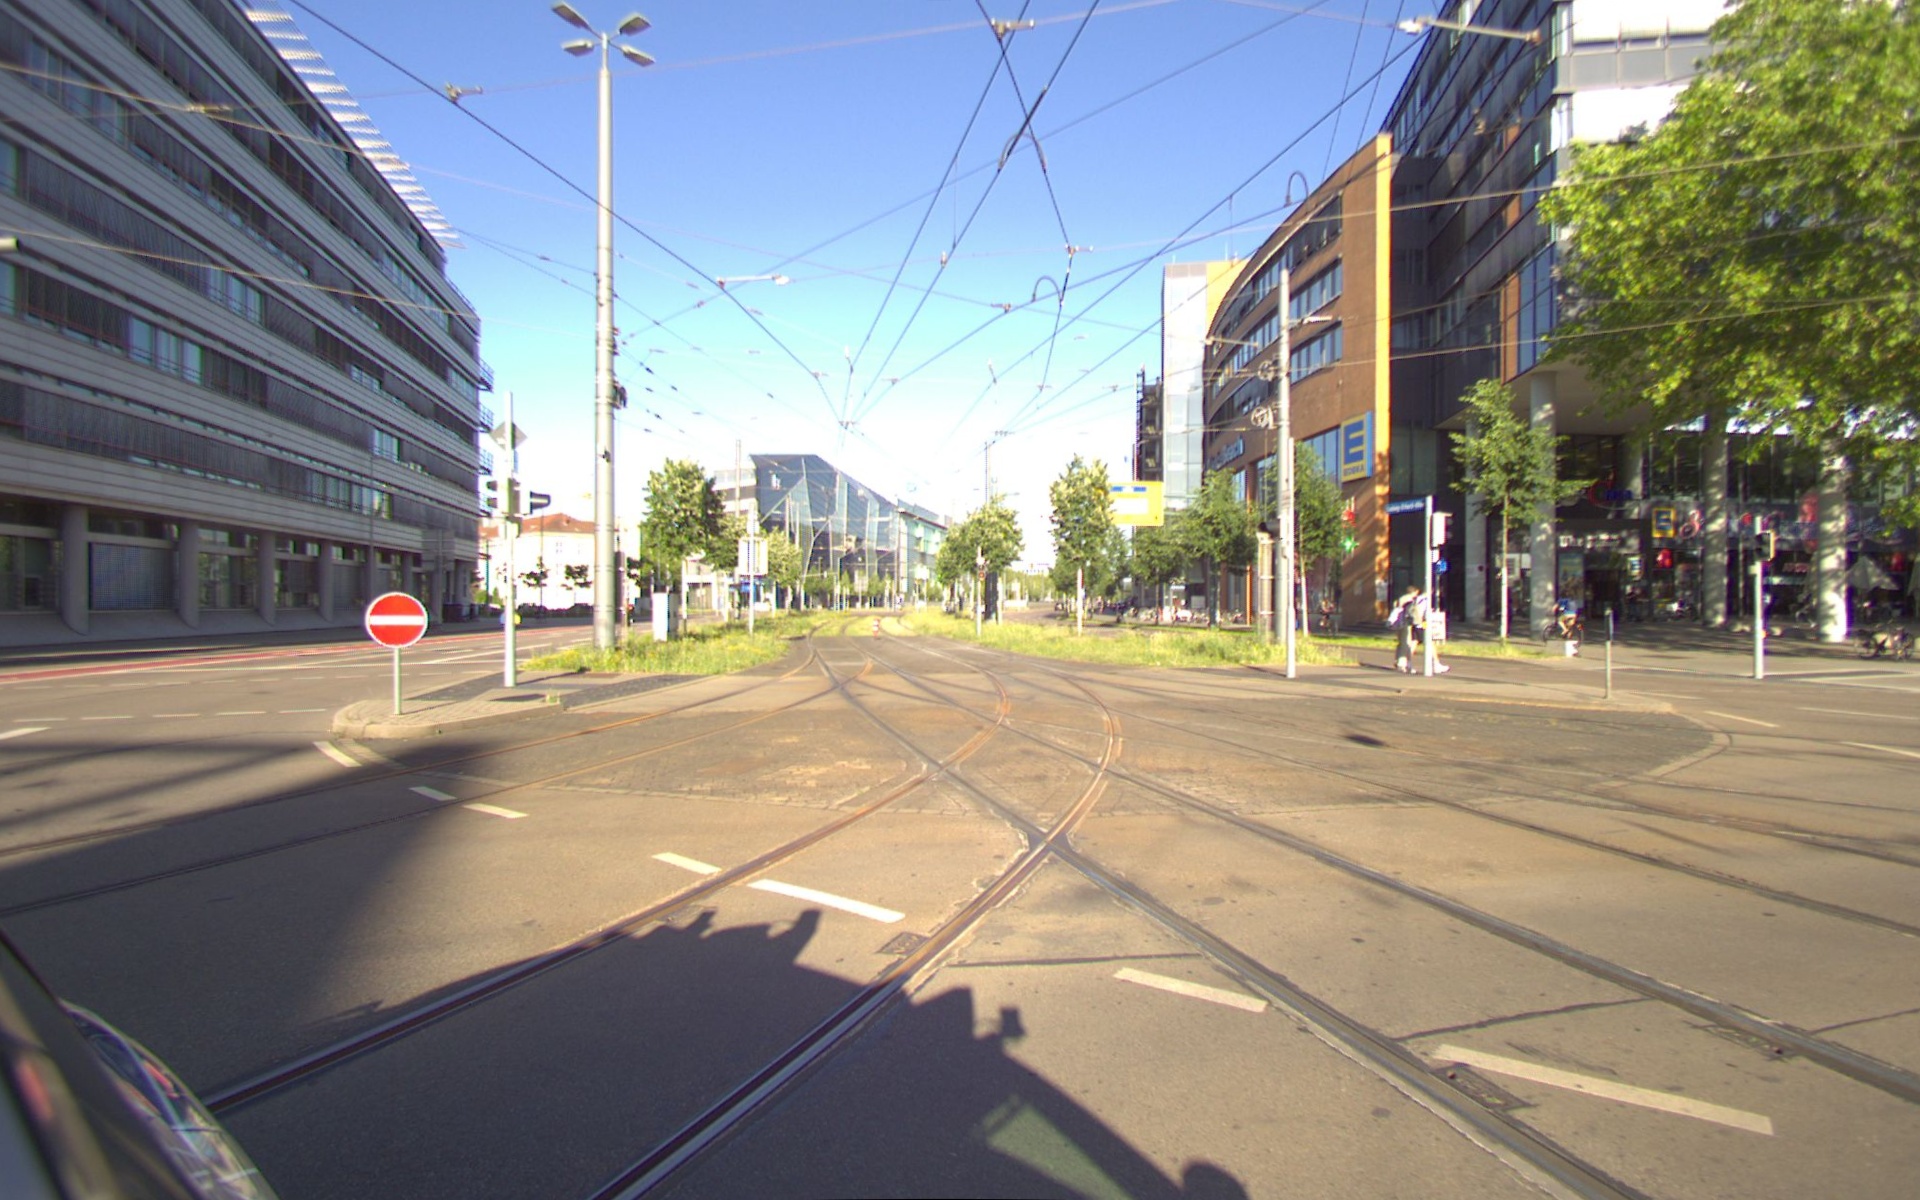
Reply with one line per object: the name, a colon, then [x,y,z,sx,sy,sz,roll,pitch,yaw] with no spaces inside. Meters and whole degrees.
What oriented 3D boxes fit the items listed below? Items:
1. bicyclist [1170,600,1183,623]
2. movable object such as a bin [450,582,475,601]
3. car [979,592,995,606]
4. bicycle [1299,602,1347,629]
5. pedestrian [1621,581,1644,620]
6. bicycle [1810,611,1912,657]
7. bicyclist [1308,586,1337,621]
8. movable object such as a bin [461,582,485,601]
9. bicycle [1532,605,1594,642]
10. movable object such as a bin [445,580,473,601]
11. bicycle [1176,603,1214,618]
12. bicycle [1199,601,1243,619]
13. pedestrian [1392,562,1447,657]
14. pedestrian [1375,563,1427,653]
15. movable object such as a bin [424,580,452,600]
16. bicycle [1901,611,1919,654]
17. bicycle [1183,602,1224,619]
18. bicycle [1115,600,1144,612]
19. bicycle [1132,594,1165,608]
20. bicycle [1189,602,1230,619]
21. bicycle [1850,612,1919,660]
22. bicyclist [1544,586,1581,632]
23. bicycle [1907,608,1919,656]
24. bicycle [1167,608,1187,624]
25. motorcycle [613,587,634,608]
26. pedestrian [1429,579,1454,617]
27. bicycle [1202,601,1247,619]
bicyclist: [14.620,0.750,68.345,0.681,1.541,0.704,1,0,-7]
movable object such as a bin: [-34.640,-0.575,70.518,1.156,1.311,1.331,1,0,-6]
car: [3.211,-0.113,121.086,1.603,1.539,4.806,1,0,-2]
bicycle: [16.256,0.679,45.415,0.882,1.112,2.695,2,0,-6]
pedestrian: [29.720,0.019,44.715,0.701,1.664,0.693,2,1,24]
bicycle: [23.818,0.905,26.763,2.330,1.137,0.600,2,0,-6]
bicyclist: [16.276,0.158,45.424,0.882,1.560,0.940,2,0,-5]
movable object such as a bin: [-34.574,-0.592,71.879,1.156,1.311,1.331,1,0,-6]
bicycle: [19.636,0.743,32.998,0.683,1.145,1.854,2,0,-7]
movable object such as a bin: [-33.364,-0.623,67.381,1.308,1.311,1.176,1,0,-6]
bicycle: [17.688,0.791,76.328,2.657,1.112,0.895,2,0,5]
bicycle: [17.086,0.655,66.262,2.657,1.112,0.895,2,0,5]
pedestrian: [9.389,0.187,20.686,0.722,1.884,0.674,2,0,-9]
pedestrian: [9.521,0.171,21.858,0.722,1.884,0.700,2,0,-7]
movable object such as a bin: [-34.712,-0.657,67.334,1.308,1.311,1.176,1,0,-6]
bicycle: [26.832,0.901,27.409,2.329,1.137,0.600,2,0,-7]
bicycle: [17.370,0.754,72.257,2.657,1.112,0.895,2,0,5]
bicycle: [16.325,0.574,97.328,2.657,1.112,0.895,2,0,5]
bicycle: [16.029,0.113,86.108,2.657,1.112,0.895,2,0,5]
bicycle: [17.474,0.765,70.919,2.657,1.112,0.895,2,0,5]
bicycle: [23.515,0.895,25.187,2.330,1.137,0.600,2,0,-6]
bicyclist: [19.648,0.292,33.015,0.683,1.472,0.755,2,0,-7]
bicycle: [23.774,0.789,23.938,2.330,1.137,0.600,2,0,-6]
bicycle: [14.632,1.066,68.258,0.681,0.957,2.070,1,0,-8]
motorcycle: [-20.263,-0.143,61.049,0.808,1.230,2.260,2,0,-9]
pedestrian: [21.874,-0.091,46.010,0.722,1.718,0.700,2,0,-7]
bicycle: [17.026,0.653,65.218,2.657,1.112,0.895,2,0,5]
